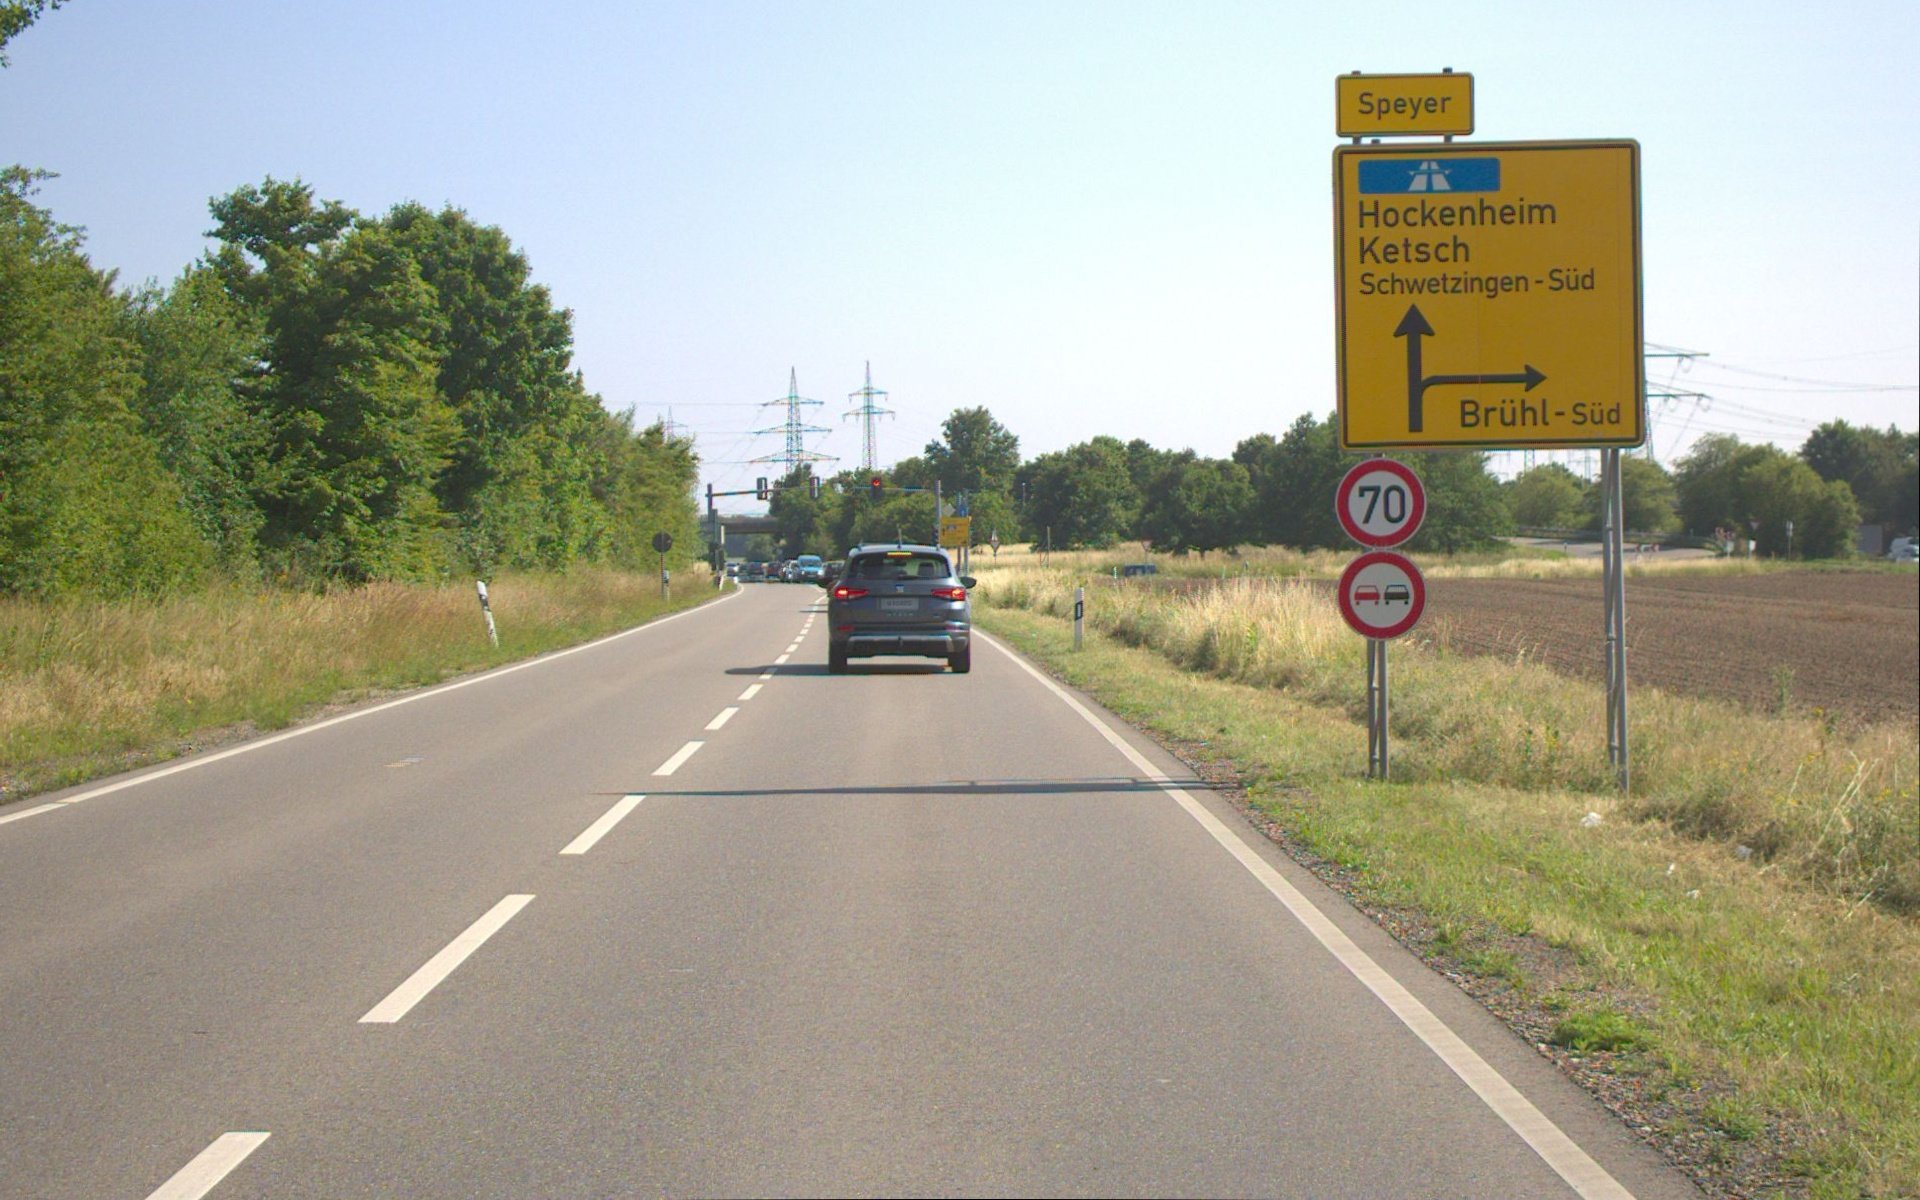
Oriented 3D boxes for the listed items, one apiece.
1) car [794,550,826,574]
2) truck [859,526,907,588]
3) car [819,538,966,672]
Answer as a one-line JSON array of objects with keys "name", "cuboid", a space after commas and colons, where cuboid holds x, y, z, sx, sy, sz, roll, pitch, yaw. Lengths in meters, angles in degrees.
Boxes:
[{"name": "car", "cuboid": [-9.843, -2.508, 225.516, 1.816, 1.535, 4.001, -1, 1, -6]}, {"name": "truck", "cuboid": [-3.834, -2.115, 170.979, 2.337, 3.055, 5.810, 0, 0, -1]}, {"name": "car", "cuboid": [-0.892, 0.028, 44.041, 1.785, 1.623, 4.001, 0, 1, -2]}]
